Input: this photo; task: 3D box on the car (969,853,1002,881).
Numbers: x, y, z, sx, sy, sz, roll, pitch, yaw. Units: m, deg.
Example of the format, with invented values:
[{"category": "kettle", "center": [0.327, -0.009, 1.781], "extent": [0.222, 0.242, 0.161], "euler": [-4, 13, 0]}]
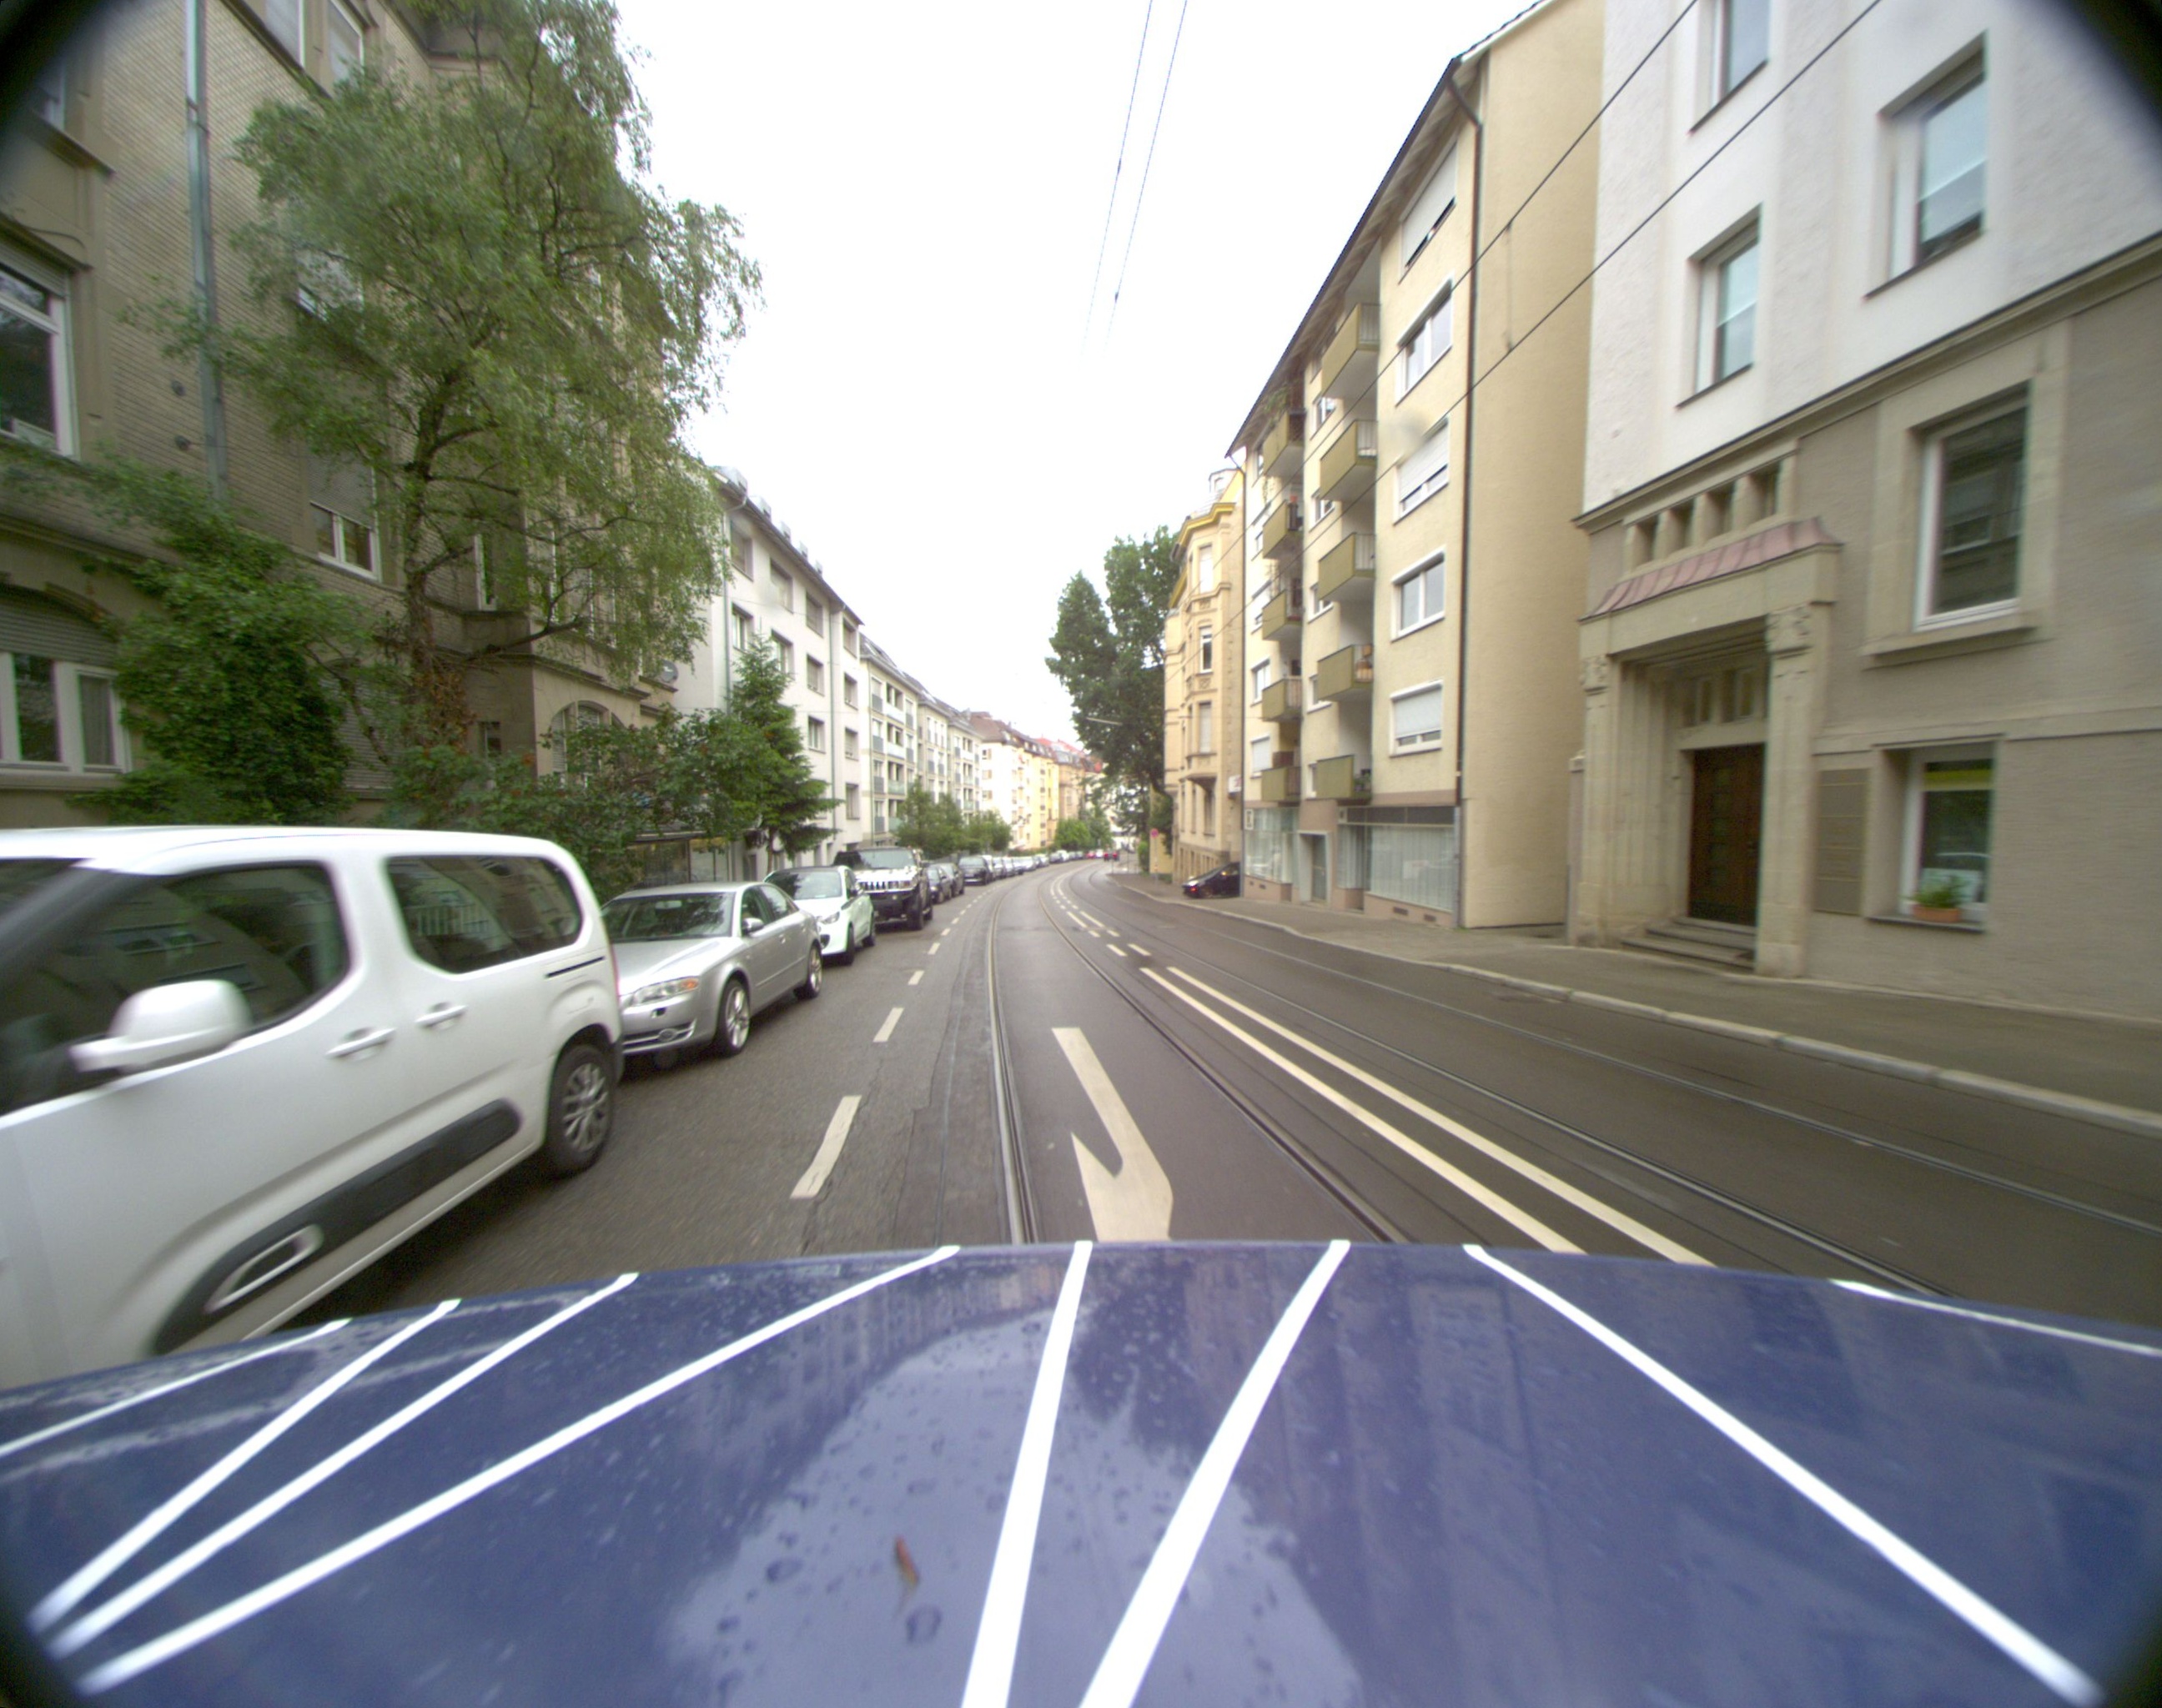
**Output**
[{"category": "car", "center": [-6.495, 0.870, 52.206], "extent": [1.783, 1.785, 4.470], "euler": [-1, 0, -2]}]

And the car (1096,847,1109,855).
[{"category": "car", "center": [3.969, -0.541, 137.810], "extent": [1.612, 1.434, 3.691], "euler": [-1, 1, 14]}]

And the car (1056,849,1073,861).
[{"category": "car", "center": [-2.349, 0.159, 107.209], "extent": [1.798, 1.613, 3.869], "euler": [-1, 1, 7]}]

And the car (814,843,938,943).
[{"category": "car", "center": [-4.830, 0.818, 18.753], "extent": [2.135, 2.002, 5.346], "euler": [-3, 0, -7]}]

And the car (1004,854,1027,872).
[{"category": "car", "center": [-5.949, 0.813, 69.643], "extent": [1.980, 1.575, 4.564], "euler": [-1, 1, -4]}]

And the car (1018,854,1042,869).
[{"category": "car", "center": [-5.273, 0.774, 79.214], "extent": [1.862, 1.507, 4.789], "euler": [-1, 1, 3]}]

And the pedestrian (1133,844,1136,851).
[{"category": "pedestrian", "center": [12.146, -1.487, 172.007], "extent": [0.649, 1.651, 0.650], "euler": [1, 0, 5]}]

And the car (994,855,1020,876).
[{"category": "car", "center": [-6.166, 0.907, 63.860], "extent": [1.837, 1.618, 4.662], "euler": [-1, 1, -1]}]

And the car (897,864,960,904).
[{"category": "car", "center": [-5.691, 1.087, 28.740], "extent": [1.683, 1.330, 3.881], "euler": [-1, 0, -2]}]

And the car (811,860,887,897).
[{"category": "car", "center": [-10.127, 1.023, 33.547], "extent": [1.817, 1.418, 4.154], "euler": [-3, 0, 3]}]

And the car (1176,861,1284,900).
[{"category": "car", "center": [5.978, 1.059, 30.859], "extent": [3.998, 1.445, 1.740], "euler": [-1, 0, -3]}]

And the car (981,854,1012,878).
[{"category": "car", "center": [-6.429, 0.874, 58.441], "extent": [1.837, 1.646, 4.686], "euler": [-1, 1, 0]}]

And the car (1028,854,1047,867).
[{"category": "car", "center": [-4.934, 0.742, 86.575], "extent": [1.599, 1.416, 3.515], "euler": [-1, 1, 4]}]

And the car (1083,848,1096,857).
[{"category": "car", "center": [1.450, -0.255, 128.868], "extent": [1.556, 1.360, 3.126], "euler": [-1, 1, 14]}]

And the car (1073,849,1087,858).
[{"category": "car", "center": [-0.216, -0.062, 121.511], "extent": [1.658, 1.360, 3.637], "euler": [-1, 1, 8]}]

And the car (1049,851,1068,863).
[{"category": "car", "center": [-3.034, 0.356, 102.211], "extent": [1.797, 1.444, 4.105], "euler": [-1, 1, 10]}]

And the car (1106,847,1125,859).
[{"category": "car", "center": [5.245, -0.169, 114.812], "extent": [2.067, 1.668, 4.774], "euler": [2, 2, 11]}]

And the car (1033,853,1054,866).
[{"category": "car", "center": [-4.493, 0.672, 91.595], "extent": [1.721, 1.458, 4.392], "euler": [-1, 1, 7]}]

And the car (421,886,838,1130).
[{"category": "car", "center": [-3.816, 1.147, 7.497], "extent": [1.754, 1.392, 4.475], "euler": [-3, 0, -6]}]

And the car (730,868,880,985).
[{"category": "car", "center": [-4.410, 1.065, 12.669], "extent": [1.565, 1.537, 3.581], "euler": [-3, 0, -8]}]

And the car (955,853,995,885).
[{"category": "car", "center": [-6.439, 0.879, 46.742], "extent": [1.948, 1.785, 4.819], "euler": [-1, 1, -3]}]

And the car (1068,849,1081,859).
[{"category": "car", "center": [-0.956, 0.022, 116.238], "extent": [1.590, 1.434, 3.477], "euler": [-1, 1, 7]}]

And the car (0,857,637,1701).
[{"category": "car", "center": [-3.293, 0.934, 2.201], "extent": [1.803, 1.755, 4.459], "euler": [-3, 0, -8]}]

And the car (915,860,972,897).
[{"category": "car", "center": [-5.966, 1.040, 33.502], "extent": [1.799, 1.429, 4.609], "euler": [-1, 0, -2]}]

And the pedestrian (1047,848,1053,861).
[{"category": "pedestrian", "center": [-4.313, 0.072, 105.135], "extent": [0.716, 1.703, 0.665], "euler": [3, 2, 10]}]
